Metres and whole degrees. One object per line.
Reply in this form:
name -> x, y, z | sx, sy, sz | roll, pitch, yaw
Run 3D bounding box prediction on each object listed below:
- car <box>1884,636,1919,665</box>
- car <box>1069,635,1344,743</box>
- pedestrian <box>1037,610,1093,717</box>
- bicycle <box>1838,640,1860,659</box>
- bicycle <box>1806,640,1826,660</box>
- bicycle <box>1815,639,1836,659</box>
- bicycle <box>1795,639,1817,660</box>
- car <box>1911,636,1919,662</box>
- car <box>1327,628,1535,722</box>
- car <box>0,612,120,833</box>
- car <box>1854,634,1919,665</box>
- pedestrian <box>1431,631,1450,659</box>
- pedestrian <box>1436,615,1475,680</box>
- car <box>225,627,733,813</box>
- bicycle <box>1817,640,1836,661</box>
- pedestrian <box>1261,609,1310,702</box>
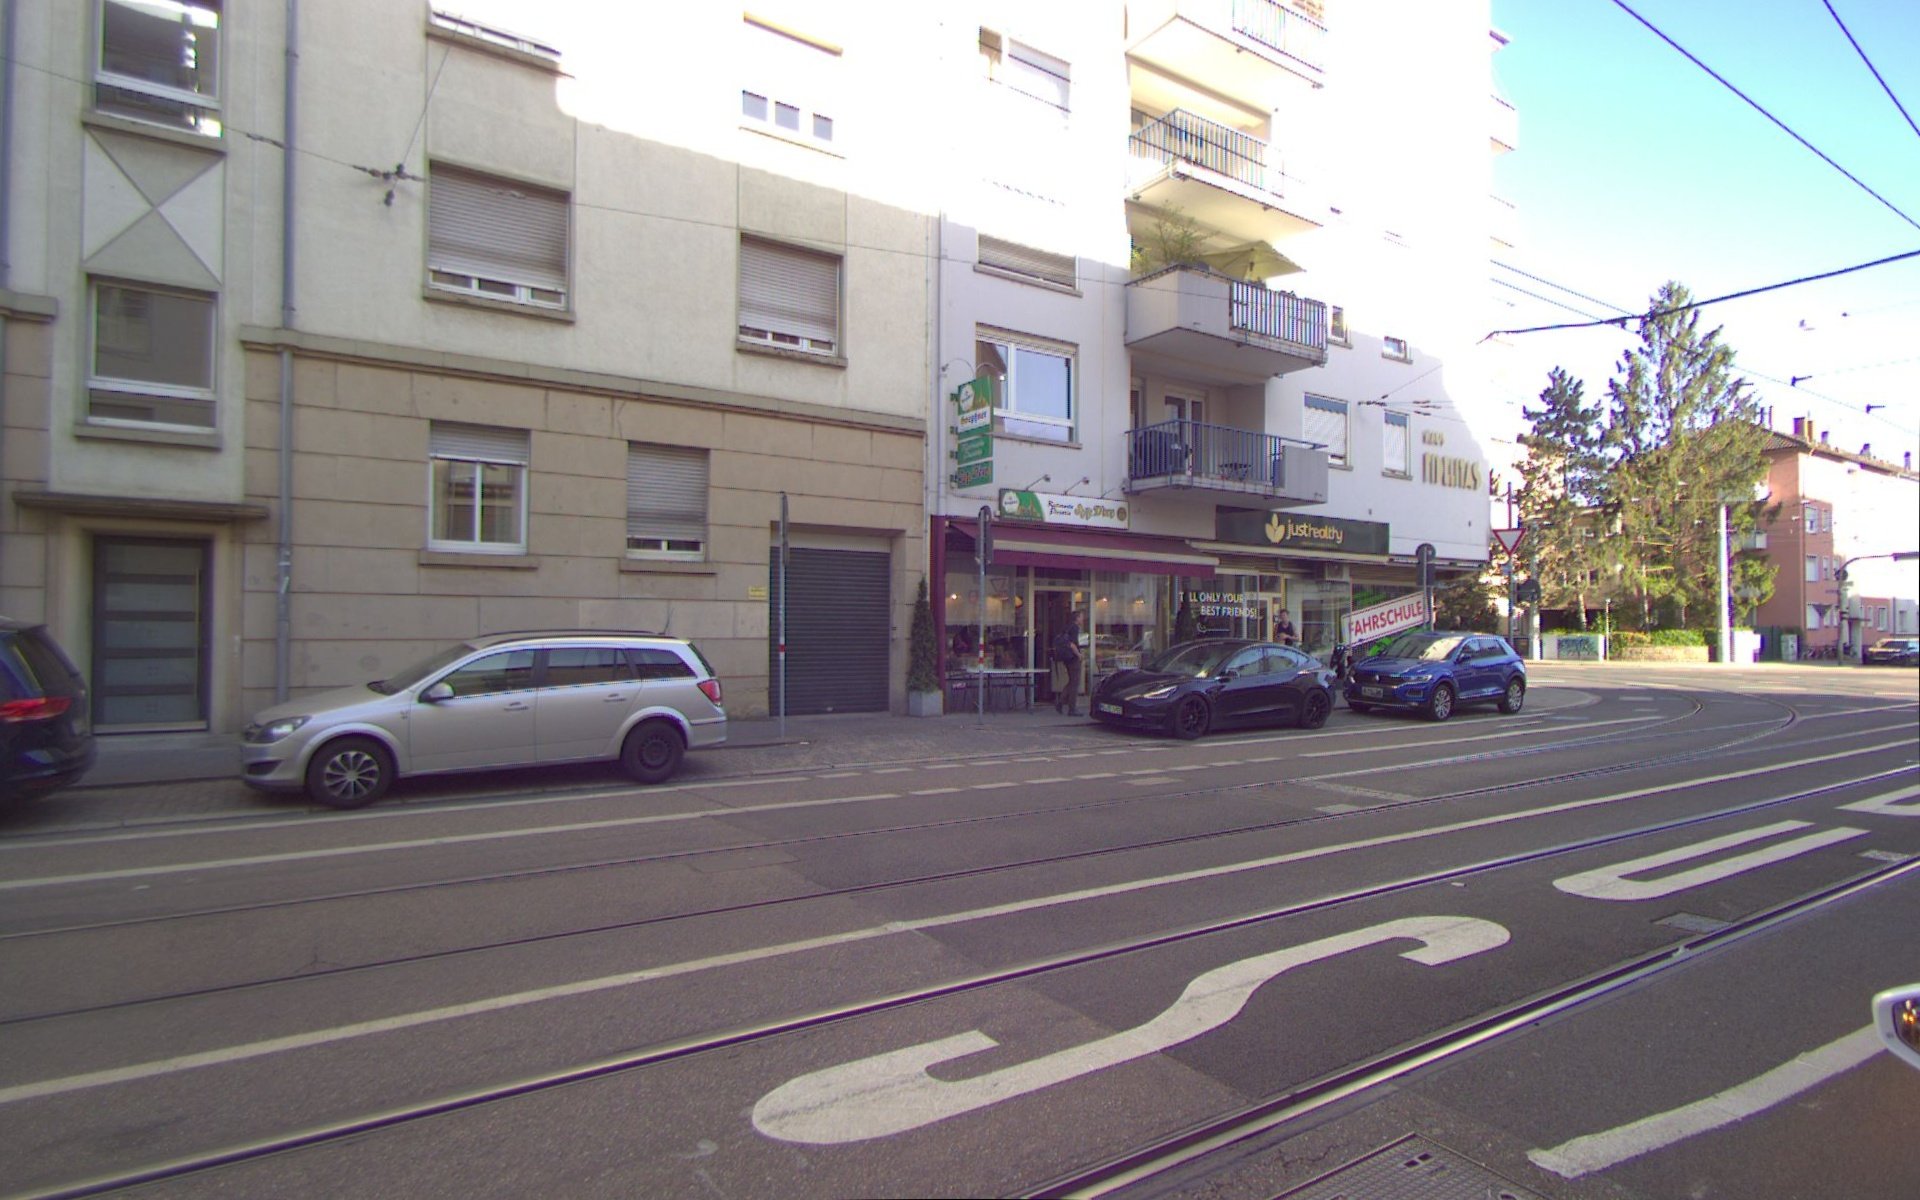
car -> 54.273, 2.845, 57.015 | 4.006, 1.539, 1.938 | 1, -2, -36
car -> 4.010, 1.316, 16.044 | 4.442, 1.422, 1.714 | 1, 1, -34
pedestrian -> 1.760, 1.050, 16.816 | 0.722, 1.731, 0.600 | 1, -2, -32
bicycle -> 53.156, 2.942, 60.027 | 1.892, 1.097, 0.605 | 1, -2, -37
bicycle -> 47.177, 2.739, 55.342 | 1.895, 1.097, 0.532 | 2, -2, -41
bicycle -> 50.740, 2.865, 58.883 | 1.892, 1.097, 0.533 | 1, -2, -37
bicycle -> 46.882, 2.728, 55.634 | 1.895, 1.097, 0.634 | 2, -2, -41
car -> 58.127, 2.902, 59.454 | 3.961, 1.539, 1.938 | 1, -2, -36
car -> 8.990, 1.346, 19.086 | 4.072, 1.525, 1.714 | 1, 1, -34
car -> -8.996, 0.879, 7.193 | 4.343, 1.620, 1.785 | 1, -1, -34
car -> 49.724, 2.620, 53.785 | 3.961, 1.539, 1.938 | 1, -2, -36
pedestrian -> 29.436, 2.749, 61.561 | 0.672, 1.725, 0.805 | 1, -2, -30
pedestrian -> 14.235, 1.361, 28.883 | 0.707, 1.859, 0.771 | 0, -1, -3
car -> -4.709, 1.049, 10.215 | 4.343, 1.497, 1.785 | 1, -1, -34
bicycle -> 47.605, 2.751, 55.167 | 1.895, 1.097, 0.532 | 2, -2, -41
pedestrian -> 6.773, 1.142, 20.910 | 0.661, 1.882, 0.751 | 1, -1, -16
